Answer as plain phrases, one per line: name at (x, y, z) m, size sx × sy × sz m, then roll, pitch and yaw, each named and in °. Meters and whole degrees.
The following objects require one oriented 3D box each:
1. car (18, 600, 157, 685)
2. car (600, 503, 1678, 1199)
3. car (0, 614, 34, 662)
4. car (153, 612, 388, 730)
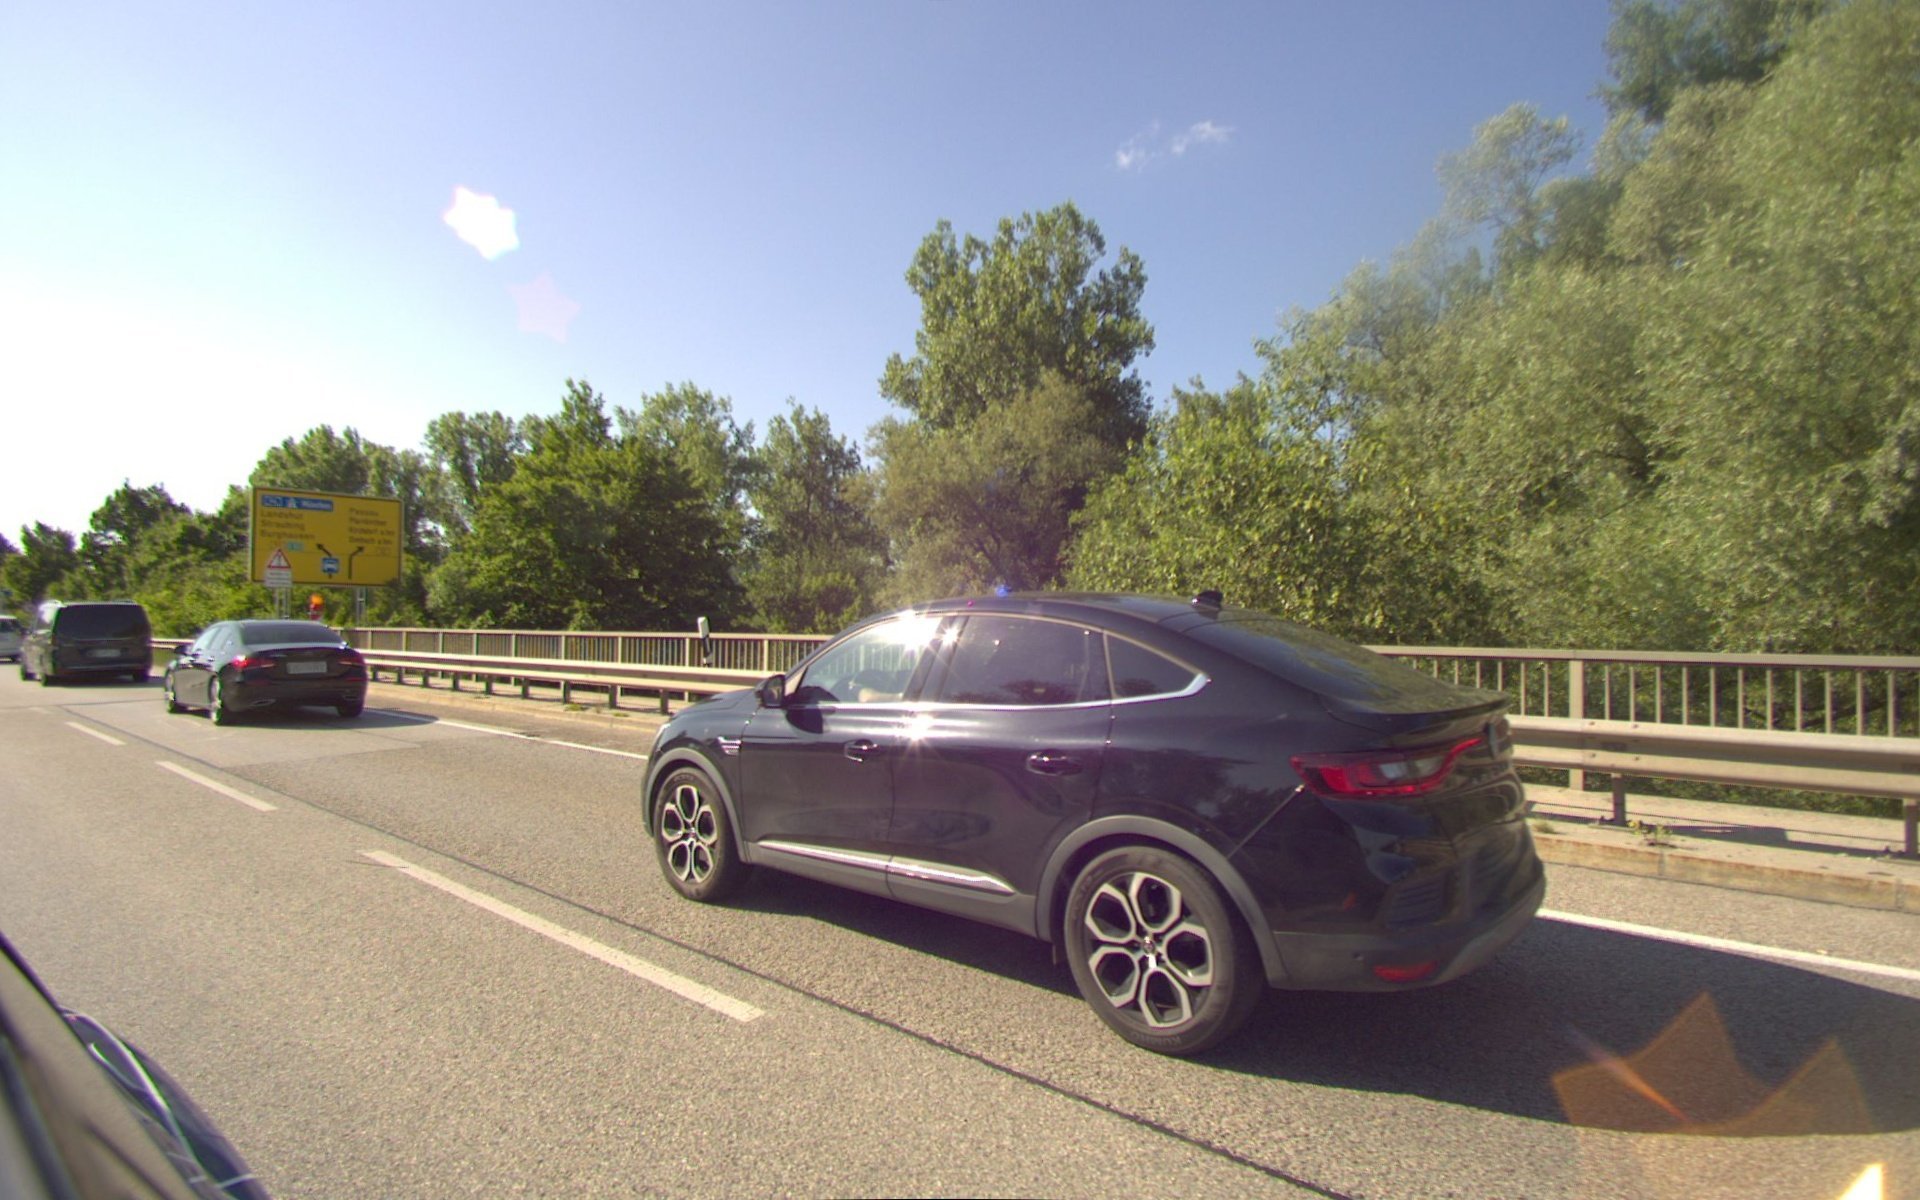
car at (-20.562, 0.937, 23.786) m, size 4.529 × 1.820 × 1.946 m, roll -1°, pitch -1°, yaw 42°
car at (0.393, 0.715, 4.634) m, size 4.529 × 1.820 × 1.946 m, roll -1°, pitch -1°, yaw 42°
car at (-32.435, 1.248, 33.826) m, size 4.061 × 1.558 × 1.800 m, roll -1°, pitch -4°, yaw 43°
car at (-10.285, 0.942, 14.981) m, size 4.271 × 1.499 × 1.869 m, roll -1°, pitch -1°, yaw 41°
